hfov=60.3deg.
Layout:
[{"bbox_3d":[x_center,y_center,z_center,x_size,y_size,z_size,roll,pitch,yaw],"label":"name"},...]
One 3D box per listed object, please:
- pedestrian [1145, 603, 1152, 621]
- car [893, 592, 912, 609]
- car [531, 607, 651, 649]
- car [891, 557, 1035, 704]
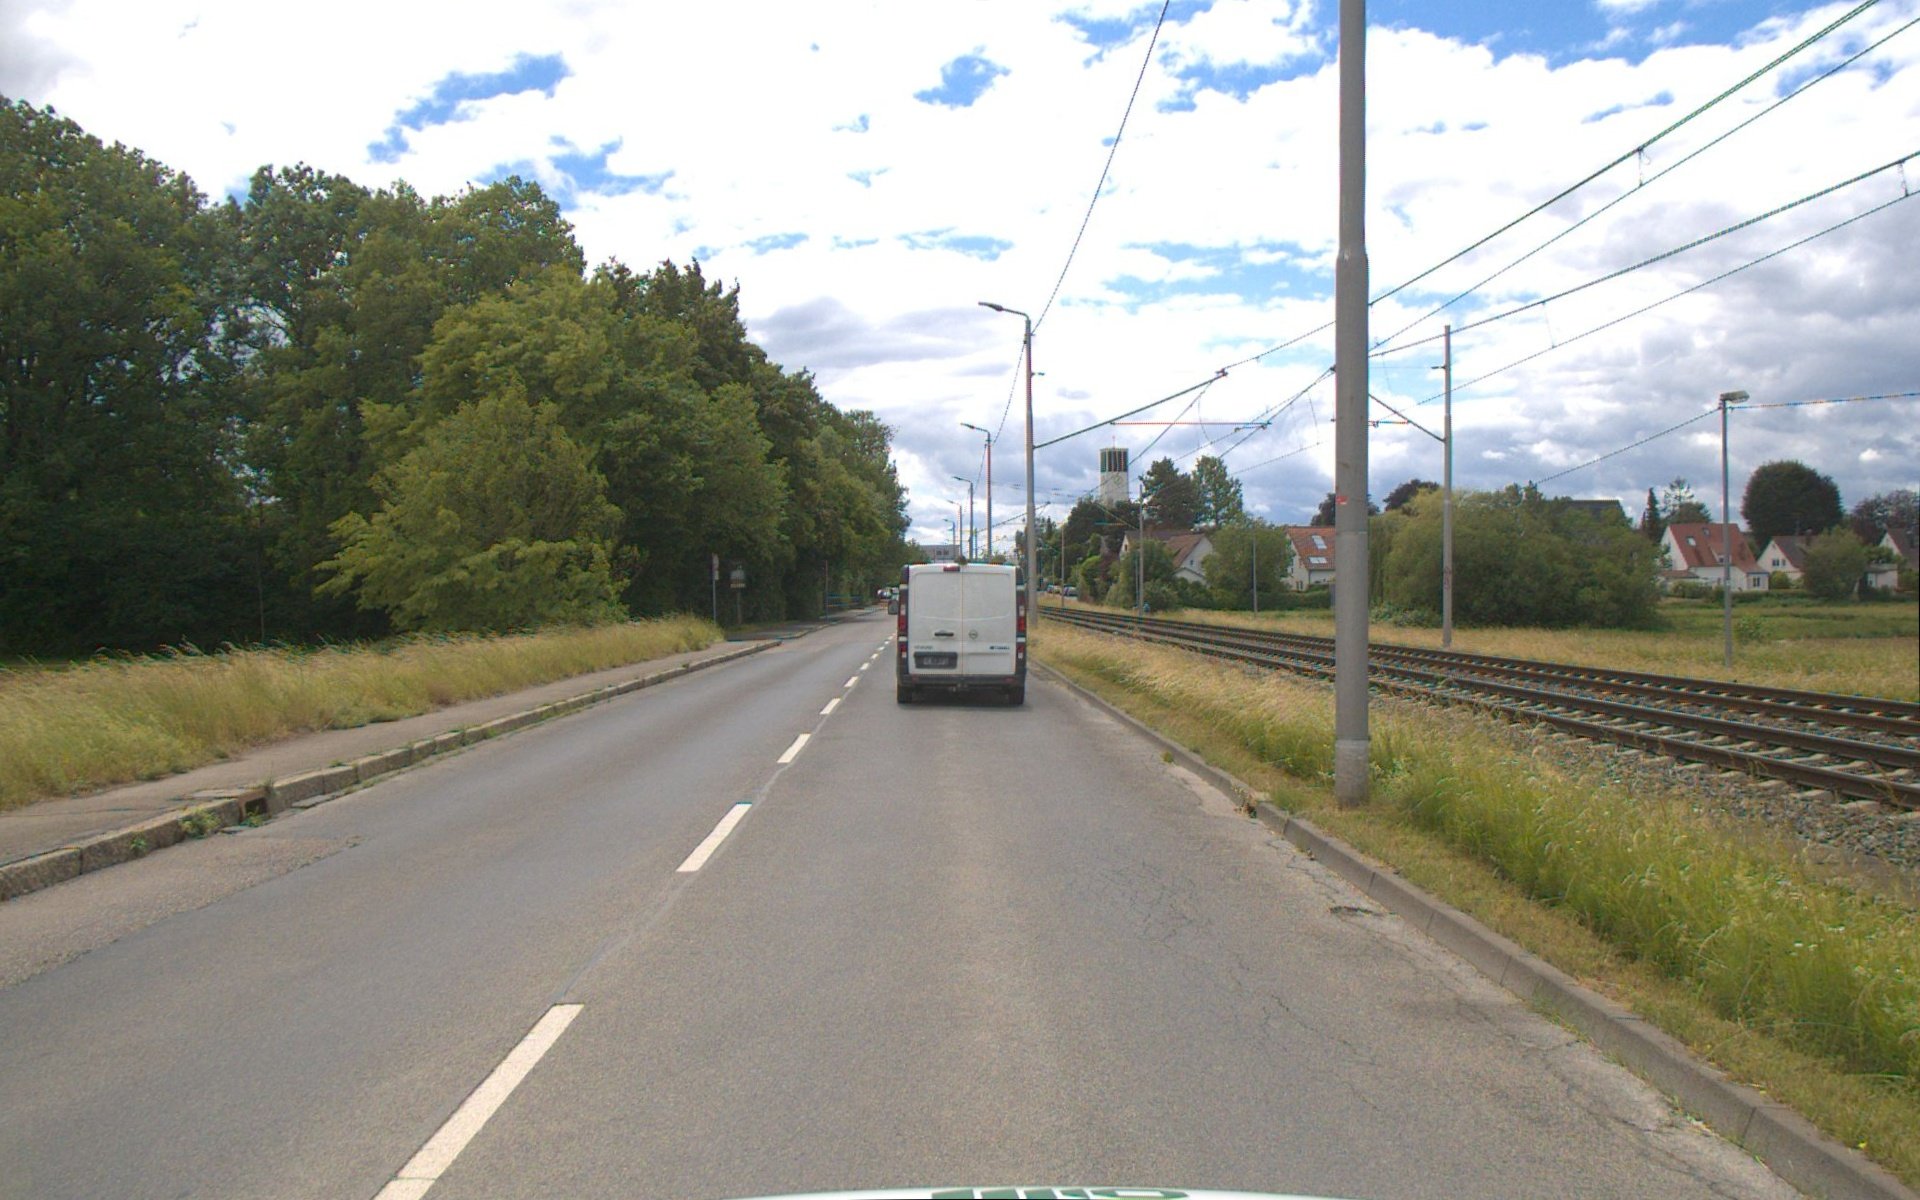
[{"bbox_3d":[16.656,1.063,146.081,0.515,1.532,0.656,-1,0,-2],"label":"pedestrian"},{"bbox_3d":[-6.151,0.089,176.668,1.953,1.747,4.122,0,0,-2],"label":"car"},{"bbox_3d":[-13.336,1.009,59.930,3.905,1.321,1.745,-3,0,0],"label":"car"},{"bbox_3d":[-0.024,0.429,24.426,1.953,1.991,3.998,0,0,-2],"label":"car"}]
